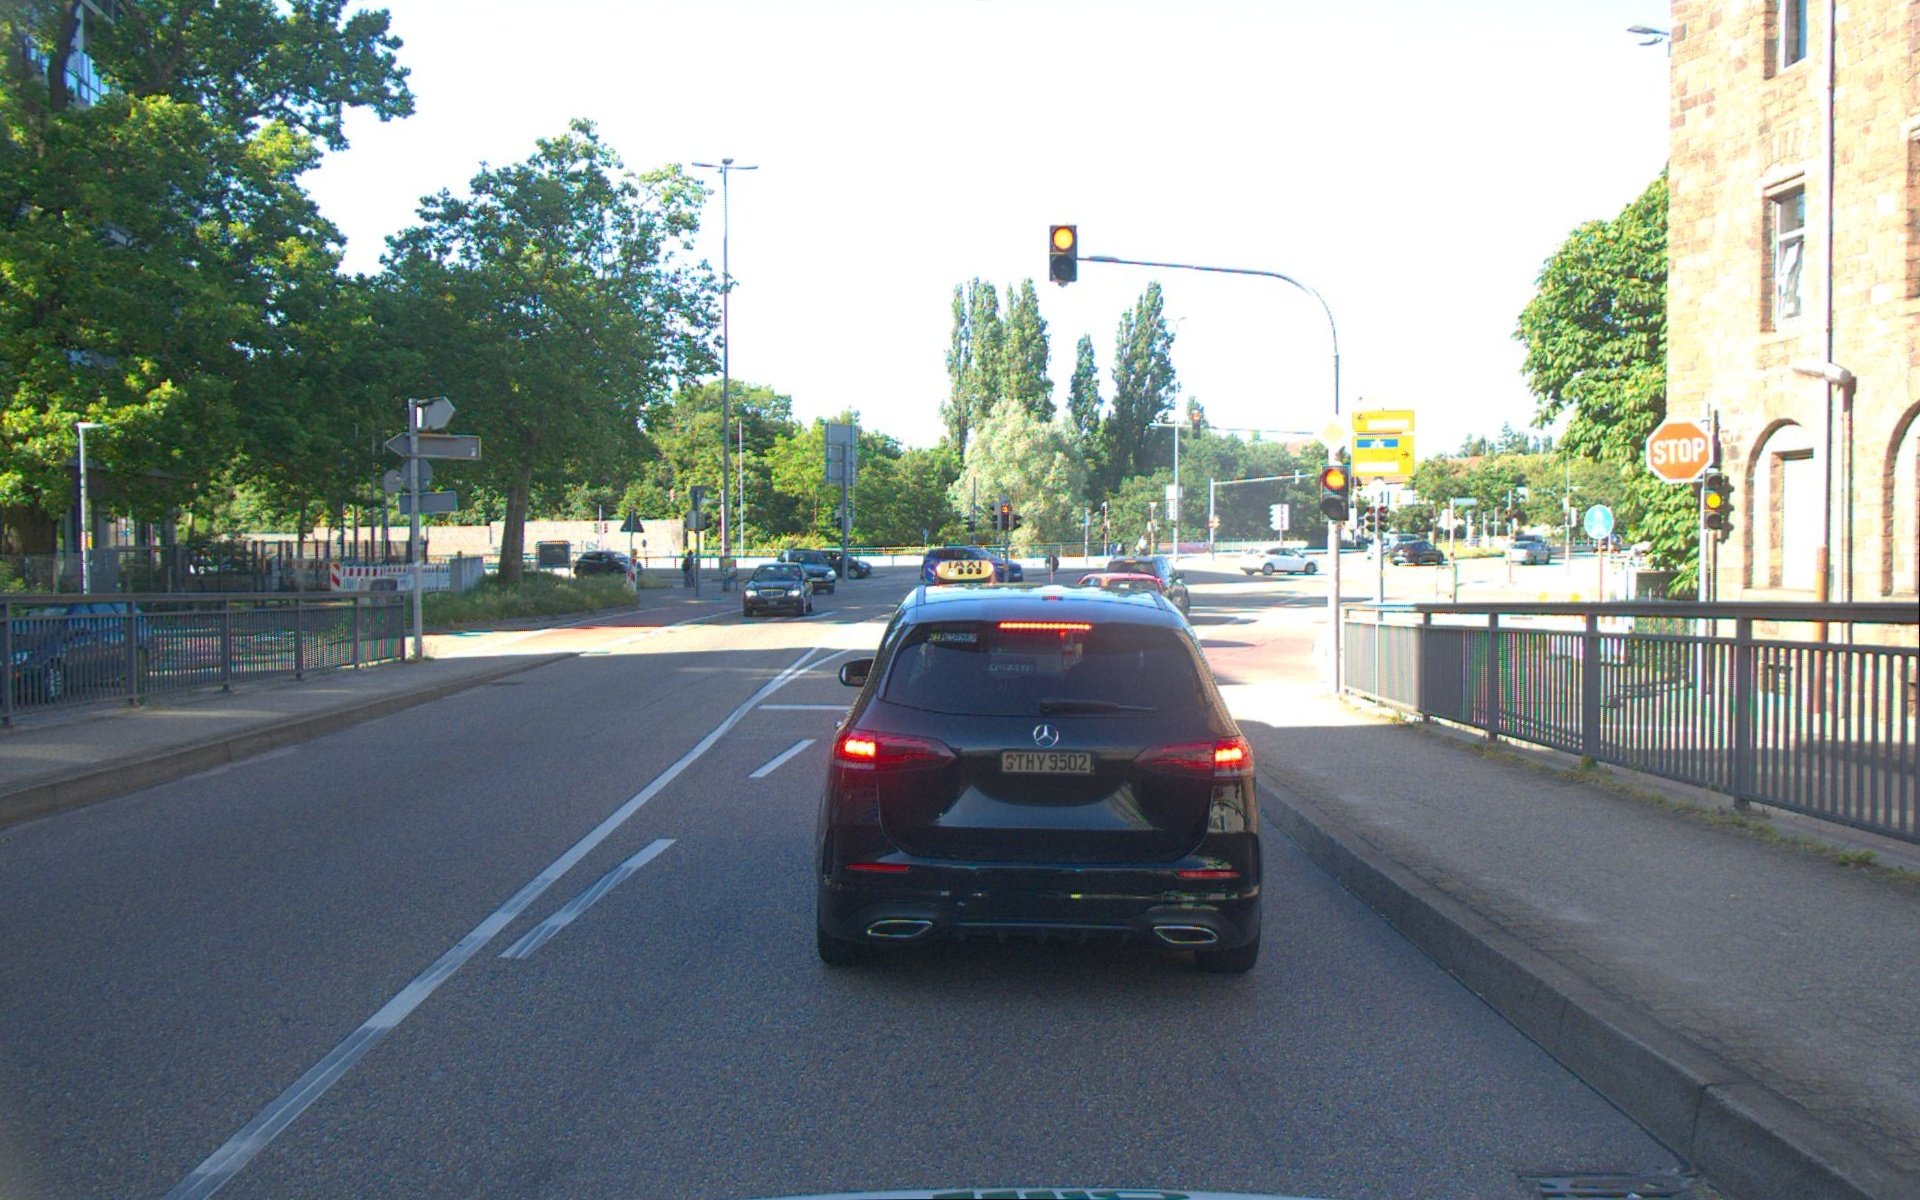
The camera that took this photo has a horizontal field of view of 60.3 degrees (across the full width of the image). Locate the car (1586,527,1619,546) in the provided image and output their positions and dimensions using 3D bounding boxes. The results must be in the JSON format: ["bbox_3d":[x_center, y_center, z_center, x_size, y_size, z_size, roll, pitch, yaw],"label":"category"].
[{"bbox_3d":[52.128,-5.165,134.201,1.749,1.381,4.069,0,3,32],"label":"car"}]

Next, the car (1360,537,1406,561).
[{"bbox_3d":[29.438,-3.542,115.162,1.846,1.605,3.987,1,2,35],"label":"car"}]

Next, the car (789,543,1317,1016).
[{"bbox_3d":[0.303,0.609,7.830,1.839,1.641,4.000,1,1,-1],"label":"car"}]

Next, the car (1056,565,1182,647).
[{"bbox_3d":[3.387,0.088,35.778,1.692,1.548,3.475,-1,3,-14],"label":"car"}]

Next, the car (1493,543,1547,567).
[{"bbox_3d":[34.234,-2.756,101.068,1.959,1.317,4.581,1,3,34],"label":"car"}]

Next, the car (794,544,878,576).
[{"bbox_3d":[-6.432,-2.061,85.887,3.902,1.574,1.892,1,0,13],"label":"car"}]

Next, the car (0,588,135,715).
[{"bbox_3d":[-14.765,0.729,25.794,1.814,1.722,4.000,0,2,-1],"label":"car"}]

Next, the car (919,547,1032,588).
[{"bbox_3d":[0.623,-1.365,67.985,4.311,1.619,1.917,1,3,33],"label":"car"}]

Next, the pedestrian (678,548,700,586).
[{"bbox_3d":[-11.110,-1.361,67.836,0.690,1.552,0.744,1,1,10],"label":"pedestrian"}]

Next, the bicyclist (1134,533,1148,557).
[{"bbox_3d":[11.649,-3.537,106.439,0.518,1.578,0.801,0,2,44],"label":"bicyclist"}]

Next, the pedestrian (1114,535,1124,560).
[{"bbox_3d":[10.461,-3.462,109.042,0.443,1.613,0.499,0,2,40],"label":"pedestrian"}]

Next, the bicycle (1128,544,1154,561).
[{"bbox_3d":[11.650,-3.051,106.461,0.518,1.068,1.976,0,2,44],"label":"bicycle"}]

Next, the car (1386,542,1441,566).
[{"bbox_3d":[27.376,-2.787,99.770,1.847,1.317,4.581,1,3,34],"label":"car"}]

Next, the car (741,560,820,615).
[{"bbox_3d":[-5.067,-0.392,47.223,1.705,1.431,4.202,-1,2,1],"label":"car"}]

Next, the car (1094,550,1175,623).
[{"bbox_3d":[4.708,-0.400,45.004,1.686,1.843,4.297,1,1,0],"label":"car"}]

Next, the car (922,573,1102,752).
[{"bbox_3d":[0.516,0.538,16.720,1.606,1.556,3.475,-1,2,1],"label":"car"}]

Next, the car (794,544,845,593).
[{"bbox_3d":[-5.336,-1.211,62.413,1.769,1.651,3.996,1,3,-7],"label":"car"}]

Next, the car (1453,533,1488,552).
[{"bbox_3d":[44.549,-5.043,144.232,1.846,1.605,3.987,1,2,35],"label":"car"}]

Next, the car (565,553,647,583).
[{"bbox_3d":[-18.485,-1.650,86.303,3.905,1.524,1.744,0,0,22],"label":"car"}]

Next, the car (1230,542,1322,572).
[{"bbox_3d":[16.163,-2.200,84.497,4.241,1.389,1.987,-2,3,-22],"label":"car"}]
